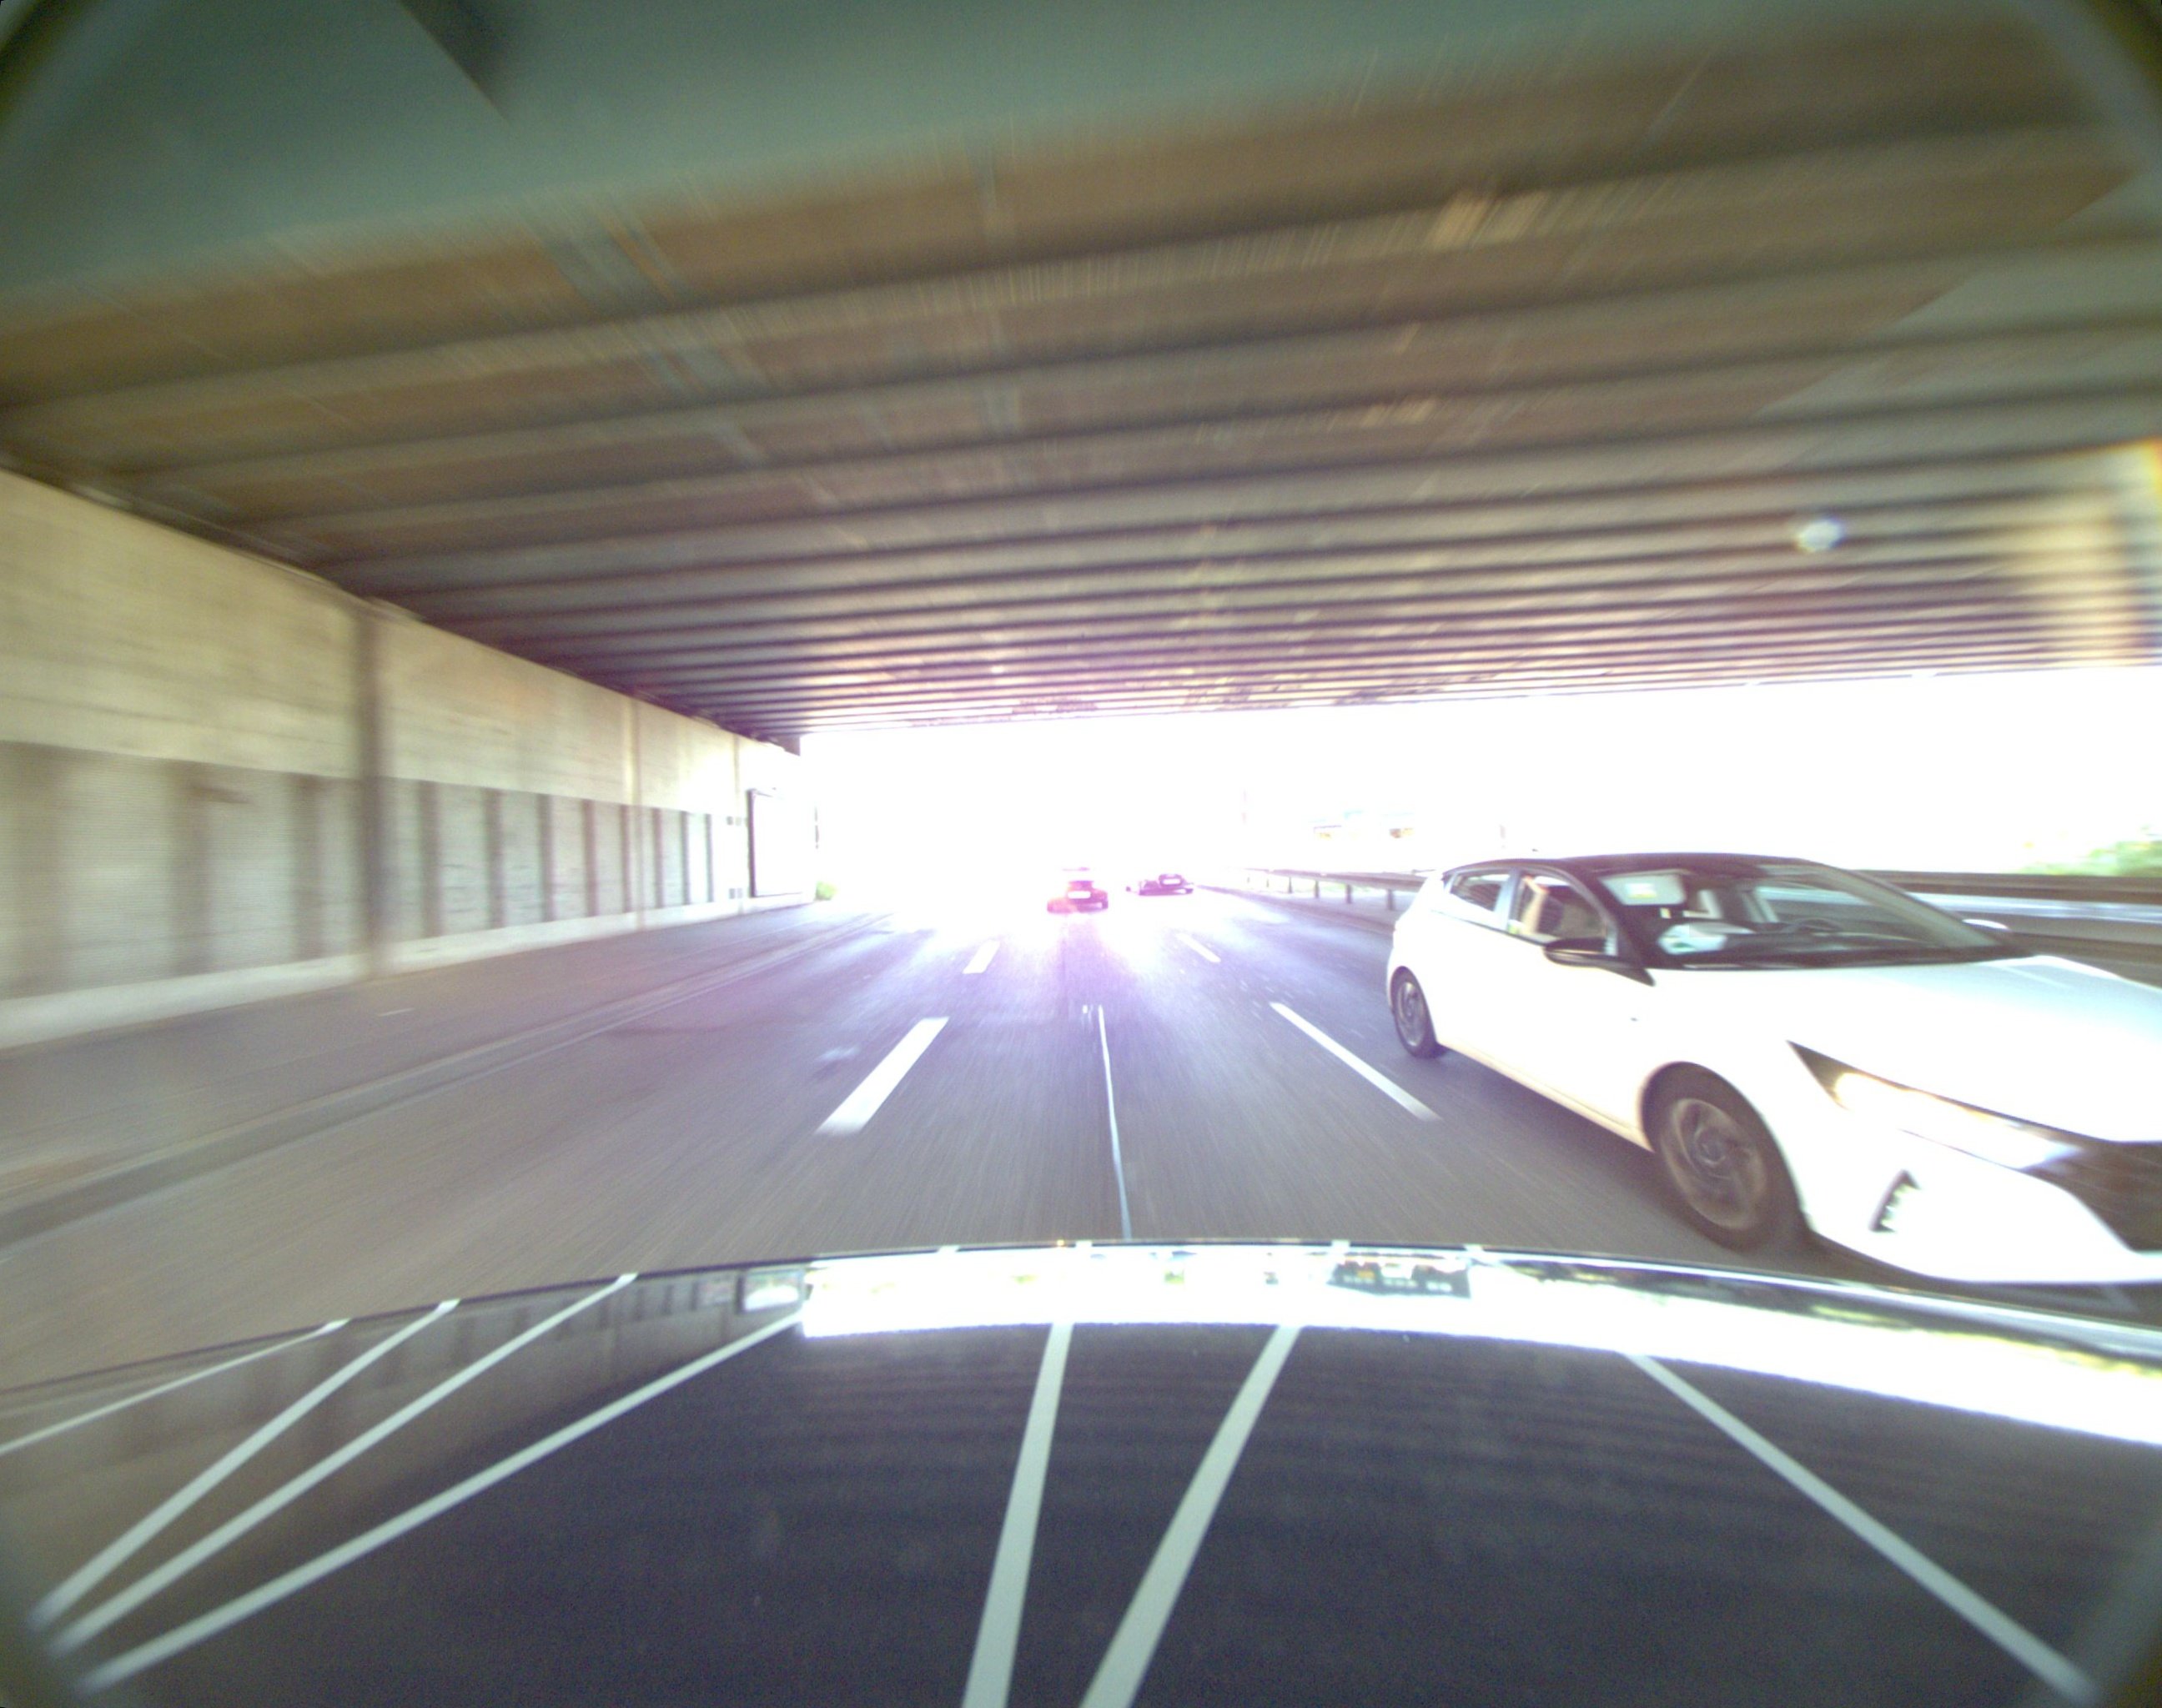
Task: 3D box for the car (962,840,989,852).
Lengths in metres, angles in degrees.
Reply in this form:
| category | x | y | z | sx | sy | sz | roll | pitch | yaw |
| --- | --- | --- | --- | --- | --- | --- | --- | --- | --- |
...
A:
| category | x | y | z | sx | sy | sz | roll | pitch | yaw |
| --- | --- | --- | --- | --- | --- | --- | --- | --- | --- |
| car | -14.598 | -1.060 | 105.325 | 1.834 | 1.578 | 4.171 | -2 | 1 | -37 |

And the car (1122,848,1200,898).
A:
| category | x | y | z | sx | sy | sz | roll | pitch | yaw |
| --- | --- | --- | --- | --- | --- | --- | --- | --- | --- |
| car | 2.575 | 0.565 | 25.345 | 1.849 | 1.412 | 3.979 | -2 | 1 | -4 |

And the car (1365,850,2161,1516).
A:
| category | x | y | z | sx | sy | sz | roll | pitch | yaw |
| --- | --- | --- | --- | --- | --- | --- | --- | --- | --- |
| car | 3.058 | 0.768 | 3.780 | 1.737 | 1.471 | 3.990 | -3 | 1 | 0 |

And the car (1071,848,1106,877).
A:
| category | x | y | z | sx | sy | sz | roll | pitch | yaw |
| --- | --- | --- | --- | --- | --- | --- | --- | --- | --- |
| car | 0.416 | 0.466 | 43.206 | 1.848 | 1.515 | 3.982 | -2 | -1 | 0 |

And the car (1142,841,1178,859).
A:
| category | x | y | z | sx | sy | sz | roll | pitch | yaw |
| --- | --- | --- | --- | --- | --- | --- | --- | --- | --- |
| car | 6.890 | -0.314 | 66.646 | 1.625 | 1.511 | 3.819 | -2 | 0 | -19 |

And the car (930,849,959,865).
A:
| category | x | y | z | sx | sy | sz | roll | pitch | yaw |
| --- | --- | --- | --- | --- | --- | --- | --- | --- | --- |
| car | -13.614 | 0.324 | 75.458 | 1.852 | 1.474 | 3.974 | -2 | -1 | -24 |

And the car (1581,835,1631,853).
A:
| category | x | y | z | sx | sy | sz | roll | pitch | yaw |
| --- | --- | --- | --- | --- | --- | --- | --- | --- | --- |
| car | 37.904 | -0.717 | 54.835 | 4.191 | 1.274 | 1.825 | 0 | 1 | -39 |

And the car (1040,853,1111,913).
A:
| category | x | y | z | sx | sy | sz | roll | pitch | yaw |
| --- | --- | --- | --- | --- | --- | --- | --- | --- | --- |
| car | -0.113 | 0.724 | 21.154 | 1.737 | 1.412 | 4.318 | -2 | 1 | 0 |
